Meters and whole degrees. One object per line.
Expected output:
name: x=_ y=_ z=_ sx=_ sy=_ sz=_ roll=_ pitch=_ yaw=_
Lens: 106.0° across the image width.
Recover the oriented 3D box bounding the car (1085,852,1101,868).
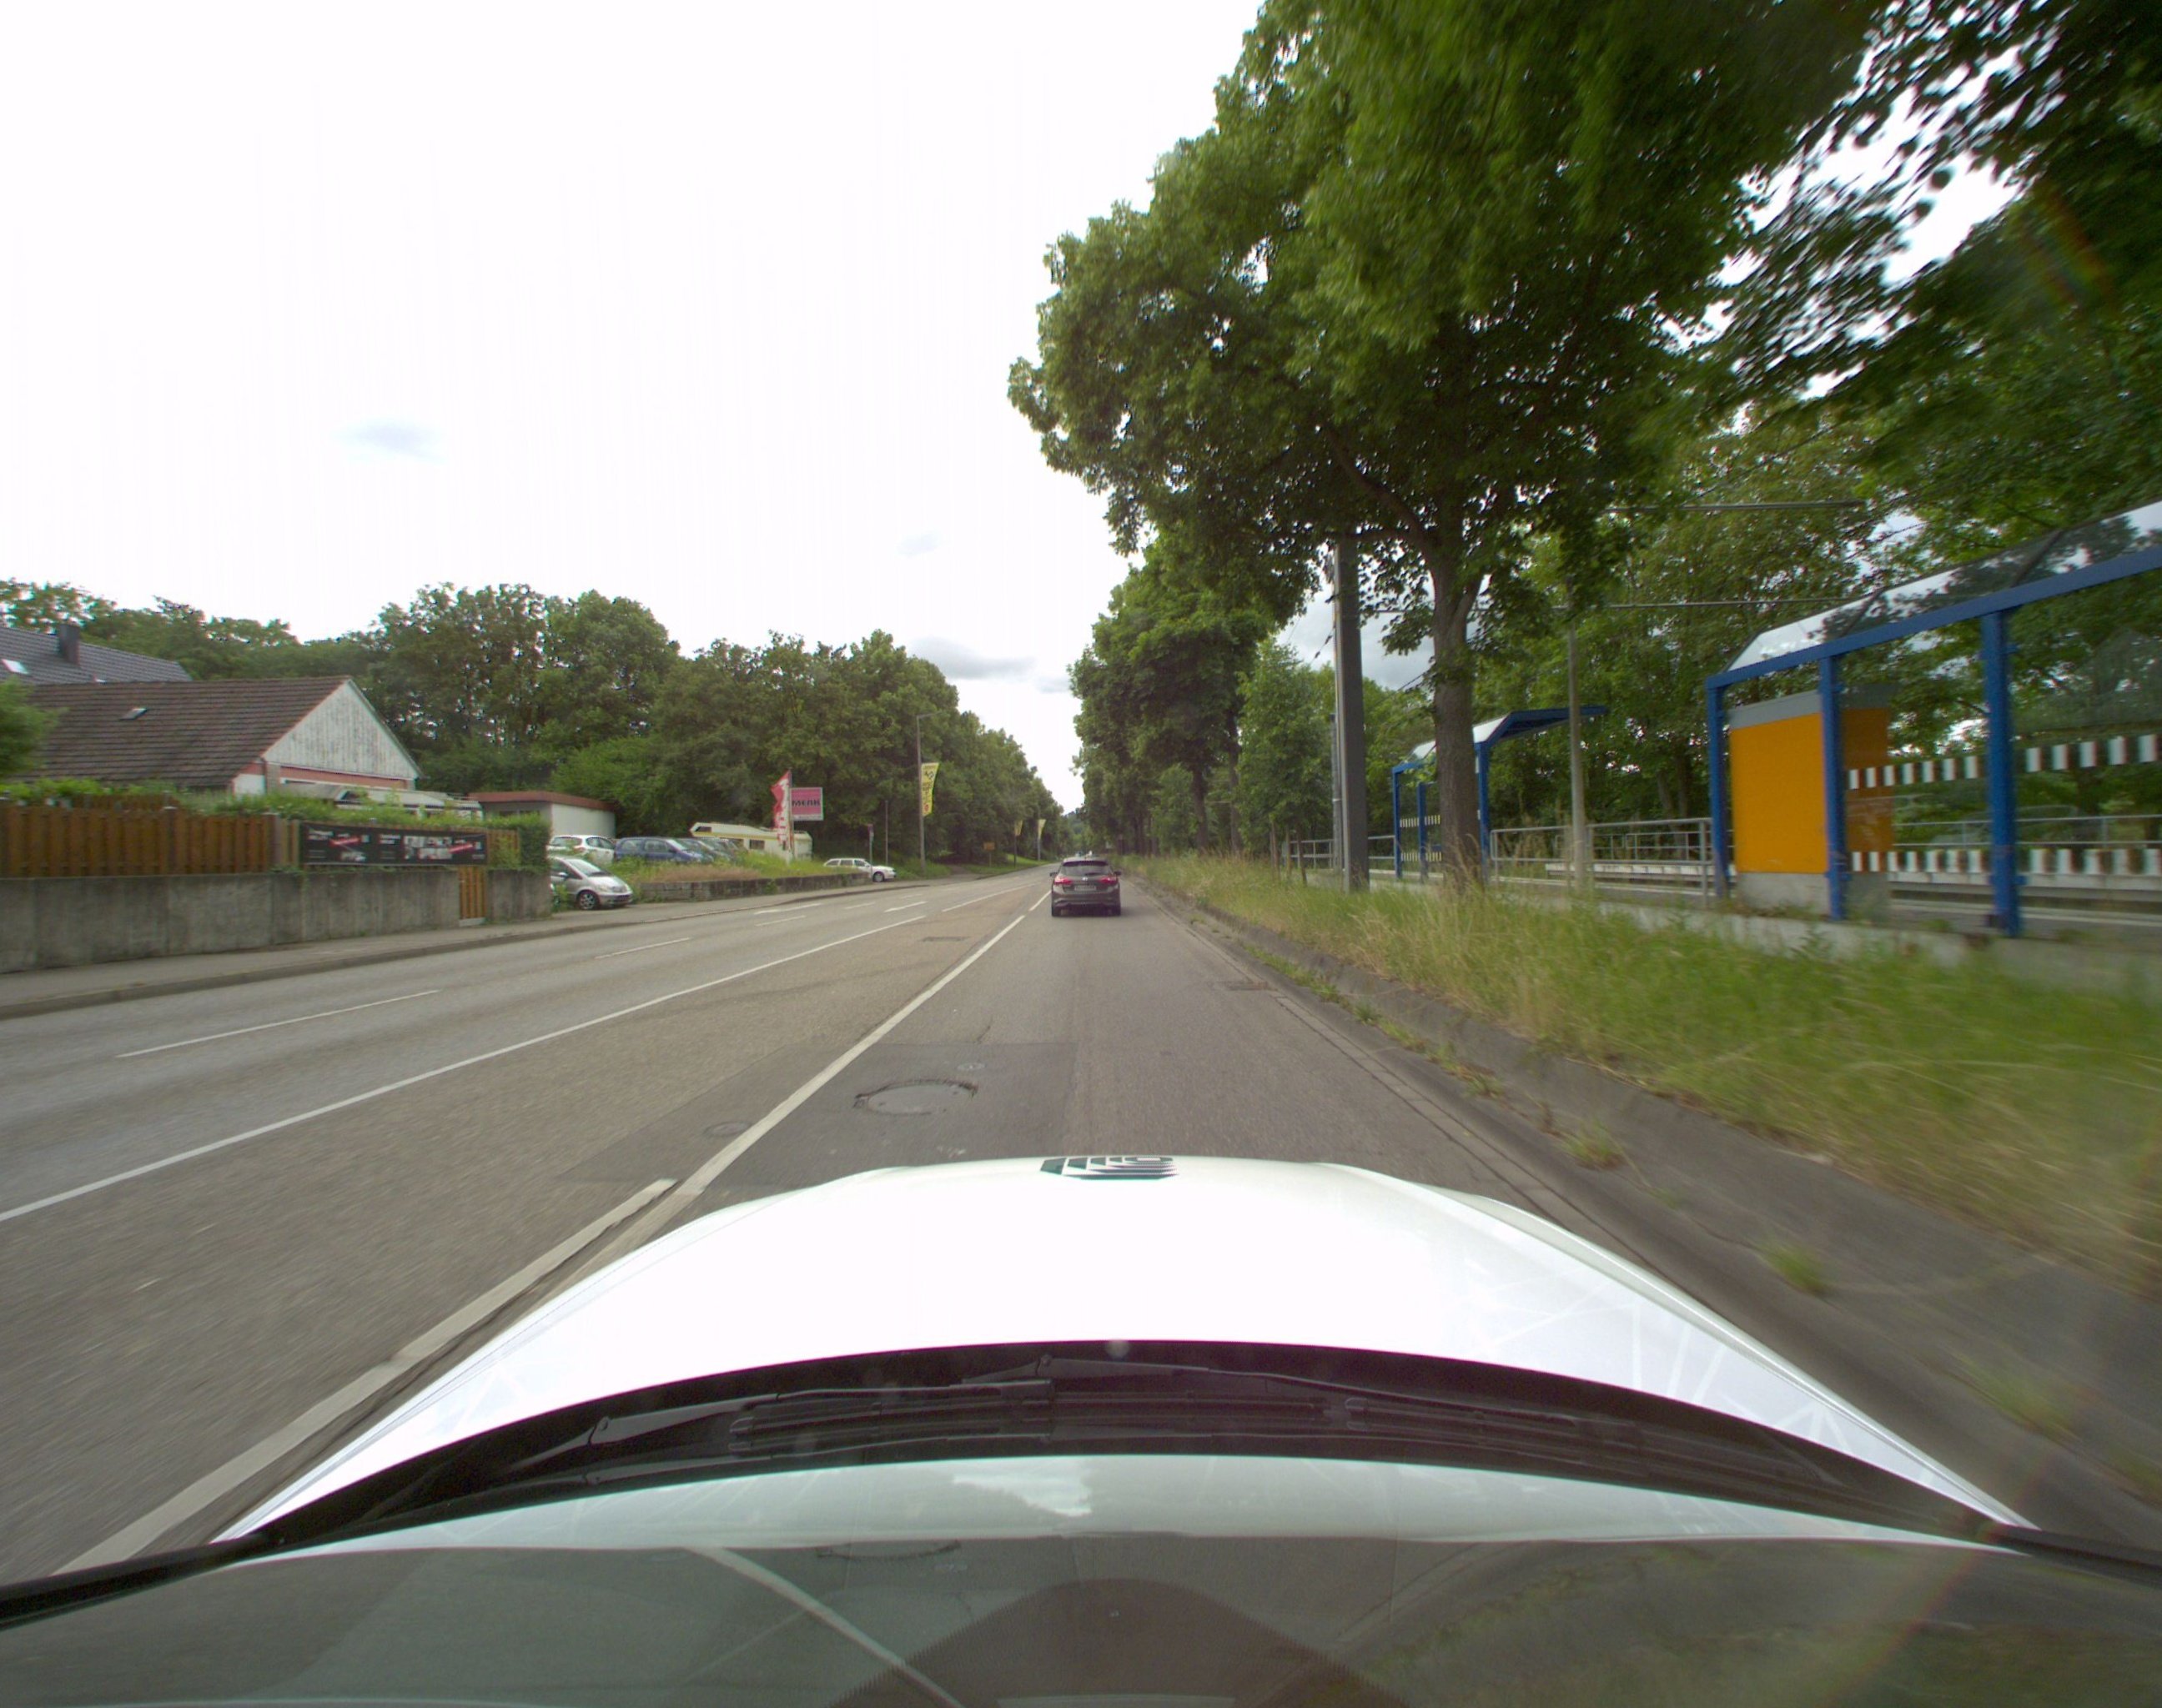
car: x=1.237 y=0.616 z=81.156 sx=1.497 sy=1.529 sz=3.673 roll=0 pitch=-1 yaw=2

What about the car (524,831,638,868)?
car: x=-19.579 y=-0.154 z=32.156 sx=1.842 sy=1.342 sz=4.398 roll=-1 pitch=0 yaw=-2

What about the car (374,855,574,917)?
car: x=-16.609 y=0.860 z=22.451 sx=3.972 sy=1.604 sz=2.001 roll=0 pitch=-1 yaw=1

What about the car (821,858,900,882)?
car: x=-13.629 y=0.970 z=50.522 sx=4.363 sy=1.441 sz=1.960 roll=0 pitch=0 yaw=-2

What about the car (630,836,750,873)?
car: x=-15.419 y=0.012 z=32.208 sx=3.968 sy=1.411 sz=1.535 roll=0 pitch=-1 yaw=5

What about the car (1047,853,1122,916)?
car: x=0.173 y=0.769 z=22.045 sx=1.830 sy=1.528 sz=3.931 roll=-1 pitch=0 yaw=2

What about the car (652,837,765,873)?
car: x=-15.588 y=0.051 z=34.166 sx=3.968 sy=1.492 sz=1.649 roll=0 pitch=-1 yaw=5

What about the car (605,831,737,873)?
car: x=-15.217 y=-0.066 z=30.339 sx=3.968 sy=1.497 sz=1.862 roll=0 pitch=-1 yaw=5

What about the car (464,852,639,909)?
car: x=-15.950 y=0.780 z=24.691 sx=3.972 sy=1.617 sz=2.001 roll=0 pitch=-1 yaw=1

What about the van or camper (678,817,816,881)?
van or camper: x=-20.523 y=-0.298 z=50.329 sx=7.117 sy=3.371 sz=2.796 roll=4 pitch=0 yaw=0

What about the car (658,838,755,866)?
car: x=-19.038 y=-0.110 z=41.513 sx=3.968 sy=1.370 sz=2.003 roll=0 pitch=-1 yaw=5

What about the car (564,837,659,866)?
car: x=-23.826 y=-0.105 z=41.403 sx=3.727 sy=1.400 sz=1.849 roll=0 pitch=-1 yaw=5
